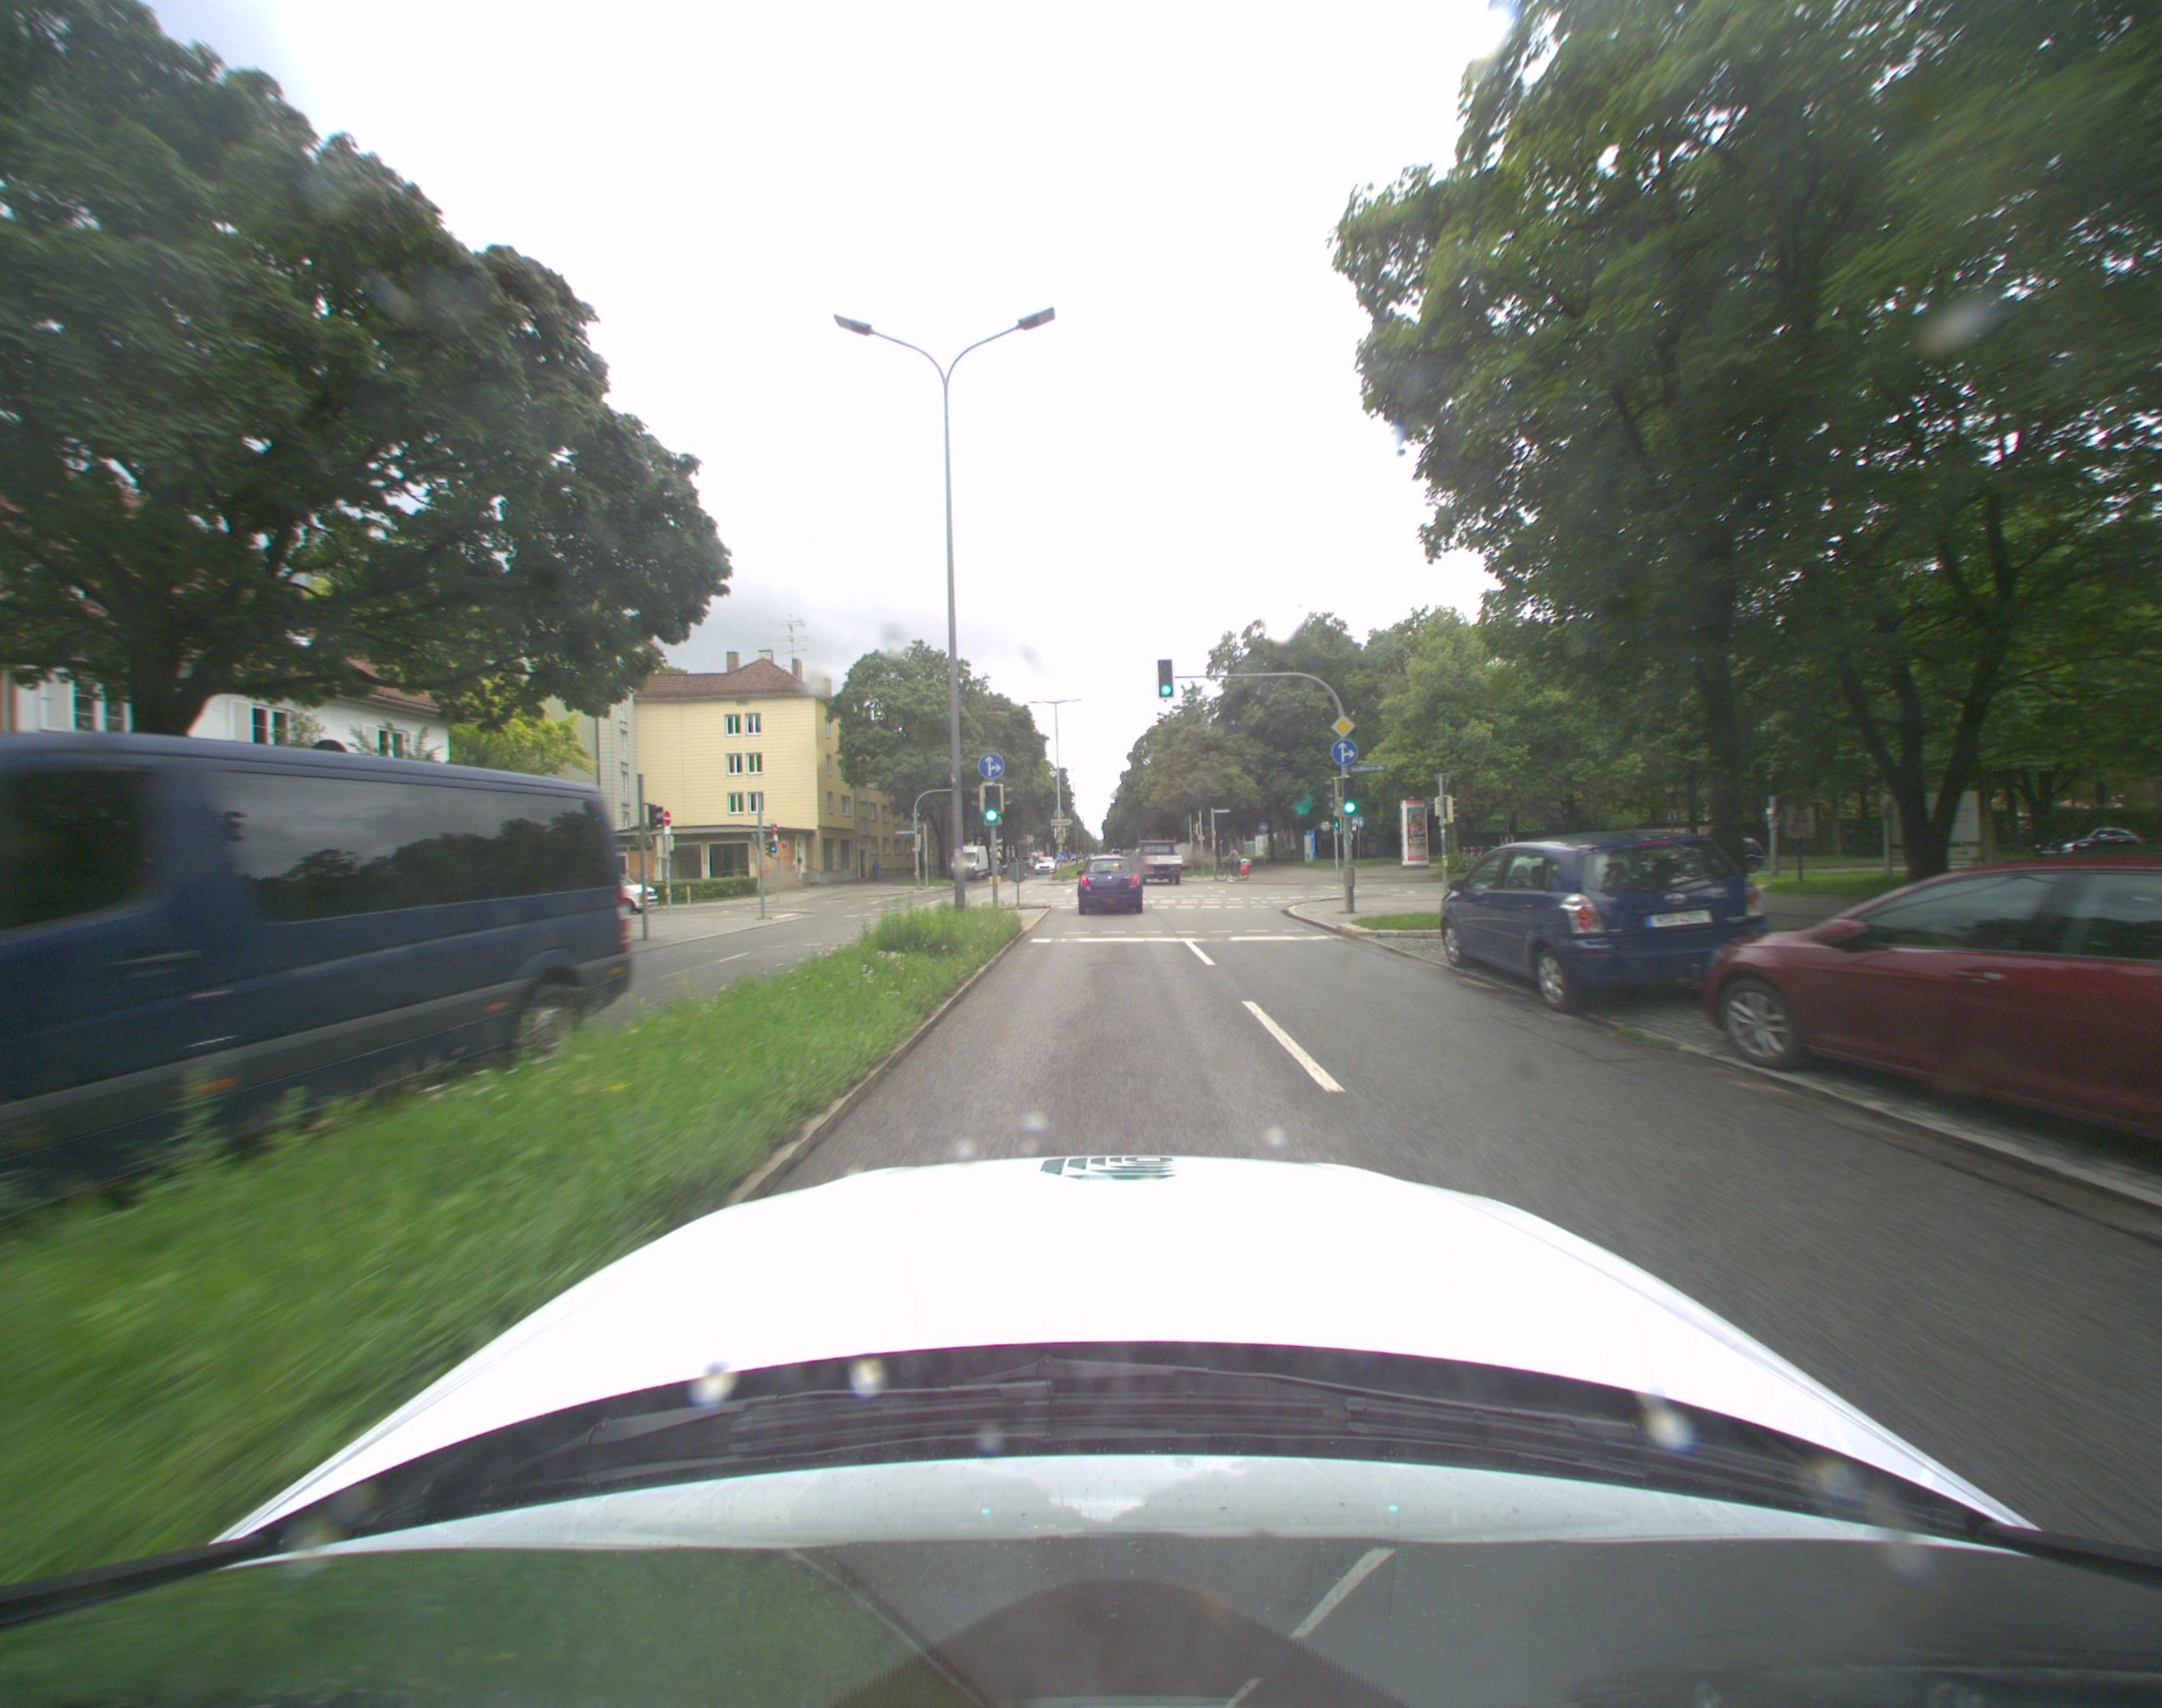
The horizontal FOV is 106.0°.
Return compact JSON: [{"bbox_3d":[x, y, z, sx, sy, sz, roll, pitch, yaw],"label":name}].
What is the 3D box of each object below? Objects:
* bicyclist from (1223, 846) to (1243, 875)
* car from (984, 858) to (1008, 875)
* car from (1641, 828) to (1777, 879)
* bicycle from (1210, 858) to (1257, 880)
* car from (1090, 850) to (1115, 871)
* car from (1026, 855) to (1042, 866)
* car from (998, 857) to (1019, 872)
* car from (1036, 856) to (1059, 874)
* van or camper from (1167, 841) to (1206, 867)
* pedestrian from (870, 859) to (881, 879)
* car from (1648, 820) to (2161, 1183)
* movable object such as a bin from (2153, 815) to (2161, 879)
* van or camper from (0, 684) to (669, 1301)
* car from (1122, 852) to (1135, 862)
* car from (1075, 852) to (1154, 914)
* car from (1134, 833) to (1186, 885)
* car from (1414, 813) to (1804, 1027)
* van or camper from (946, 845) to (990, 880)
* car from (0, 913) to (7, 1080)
[{"bbox_3d":[7.957,0.337,42.667,0.927,1.479,0.991,-1,0,3],"label":"bicyclist"},{"bbox_3d":[-7.706,1.144,74.285,1.630,1.442,3.736,-3,0,2],"label":"car"},{"bbox_3d":[25.506,-0.019,33.222,3.858,1.610,1.937,-6,0,8],"label":"car"},{"bbox_3d":[7.978,0.790,42.665,2.288,1.114,0.997,-1,0,2],"label":"bicycle"},{"bbox_3d":[1.588,0.481,60.910,1.792,1.499,3.661,-2,0,1],"label":"car"},{"bbox_3d":[-6.244,0.866,108.579,1.630,1.442,3.736,-3,0,2],"label":"car"},{"bbox_3d":[-7.381,1.030,83.147,1.630,1.442,3.736,-3,0,2],"label":"car"},{"bbox_3d":[-2.902,0.919,71.337,1.630,1.442,3.736,-3,0,2],"label":"car"},{"bbox_3d":[7.619,-0.020,59.048,2.119,1.794,4.504,-1,0,-2],"label":"van or camper"},{"bbox_3d":[-15.675,1.141,62.102,0.626,1.440,0.807,0,-1,5],"label":"pedestrian"},{"bbox_3d":[5.399,0.605,4.309,1.707,1.424,4.283,-6,0,0],"label":"car"},{"bbox_3d":[22.528,-0.183,15.552,2.052,1.263,1.532,-2,0,1],"label":"movable object such as a bin"},{"bbox_3d":[-4.963,0.543,4.612,2.016,2.260,6.022,-3,0,1],"label":"van or camper"},{"bbox_3d":[7.702,0.487,133.128,1.781,1.499,3.658,-1,0,-2],"label":"car"},{"bbox_3d":[0.827,0.725,22.168,1.891,1.499,3.658,-1,0,-2],"label":"car"},{"bbox_3d":[3.942,0.235,41.571,2.408,2.444,5.091,-1,0,3],"label":"car"},{"bbox_3d":[5.358,0.548,9.086,1.754,1.658,4.290,-6,0,6],"label":"car"},{"bbox_3d":[-8.599,0.597,62.615,2.132,2.476,6.261,-3,0,2],"label":"van or camper"},{"bbox_3d":[-10.310,1.239,5.247,1.557,1.450,3.841,1,0,3],"label":"car"}]
